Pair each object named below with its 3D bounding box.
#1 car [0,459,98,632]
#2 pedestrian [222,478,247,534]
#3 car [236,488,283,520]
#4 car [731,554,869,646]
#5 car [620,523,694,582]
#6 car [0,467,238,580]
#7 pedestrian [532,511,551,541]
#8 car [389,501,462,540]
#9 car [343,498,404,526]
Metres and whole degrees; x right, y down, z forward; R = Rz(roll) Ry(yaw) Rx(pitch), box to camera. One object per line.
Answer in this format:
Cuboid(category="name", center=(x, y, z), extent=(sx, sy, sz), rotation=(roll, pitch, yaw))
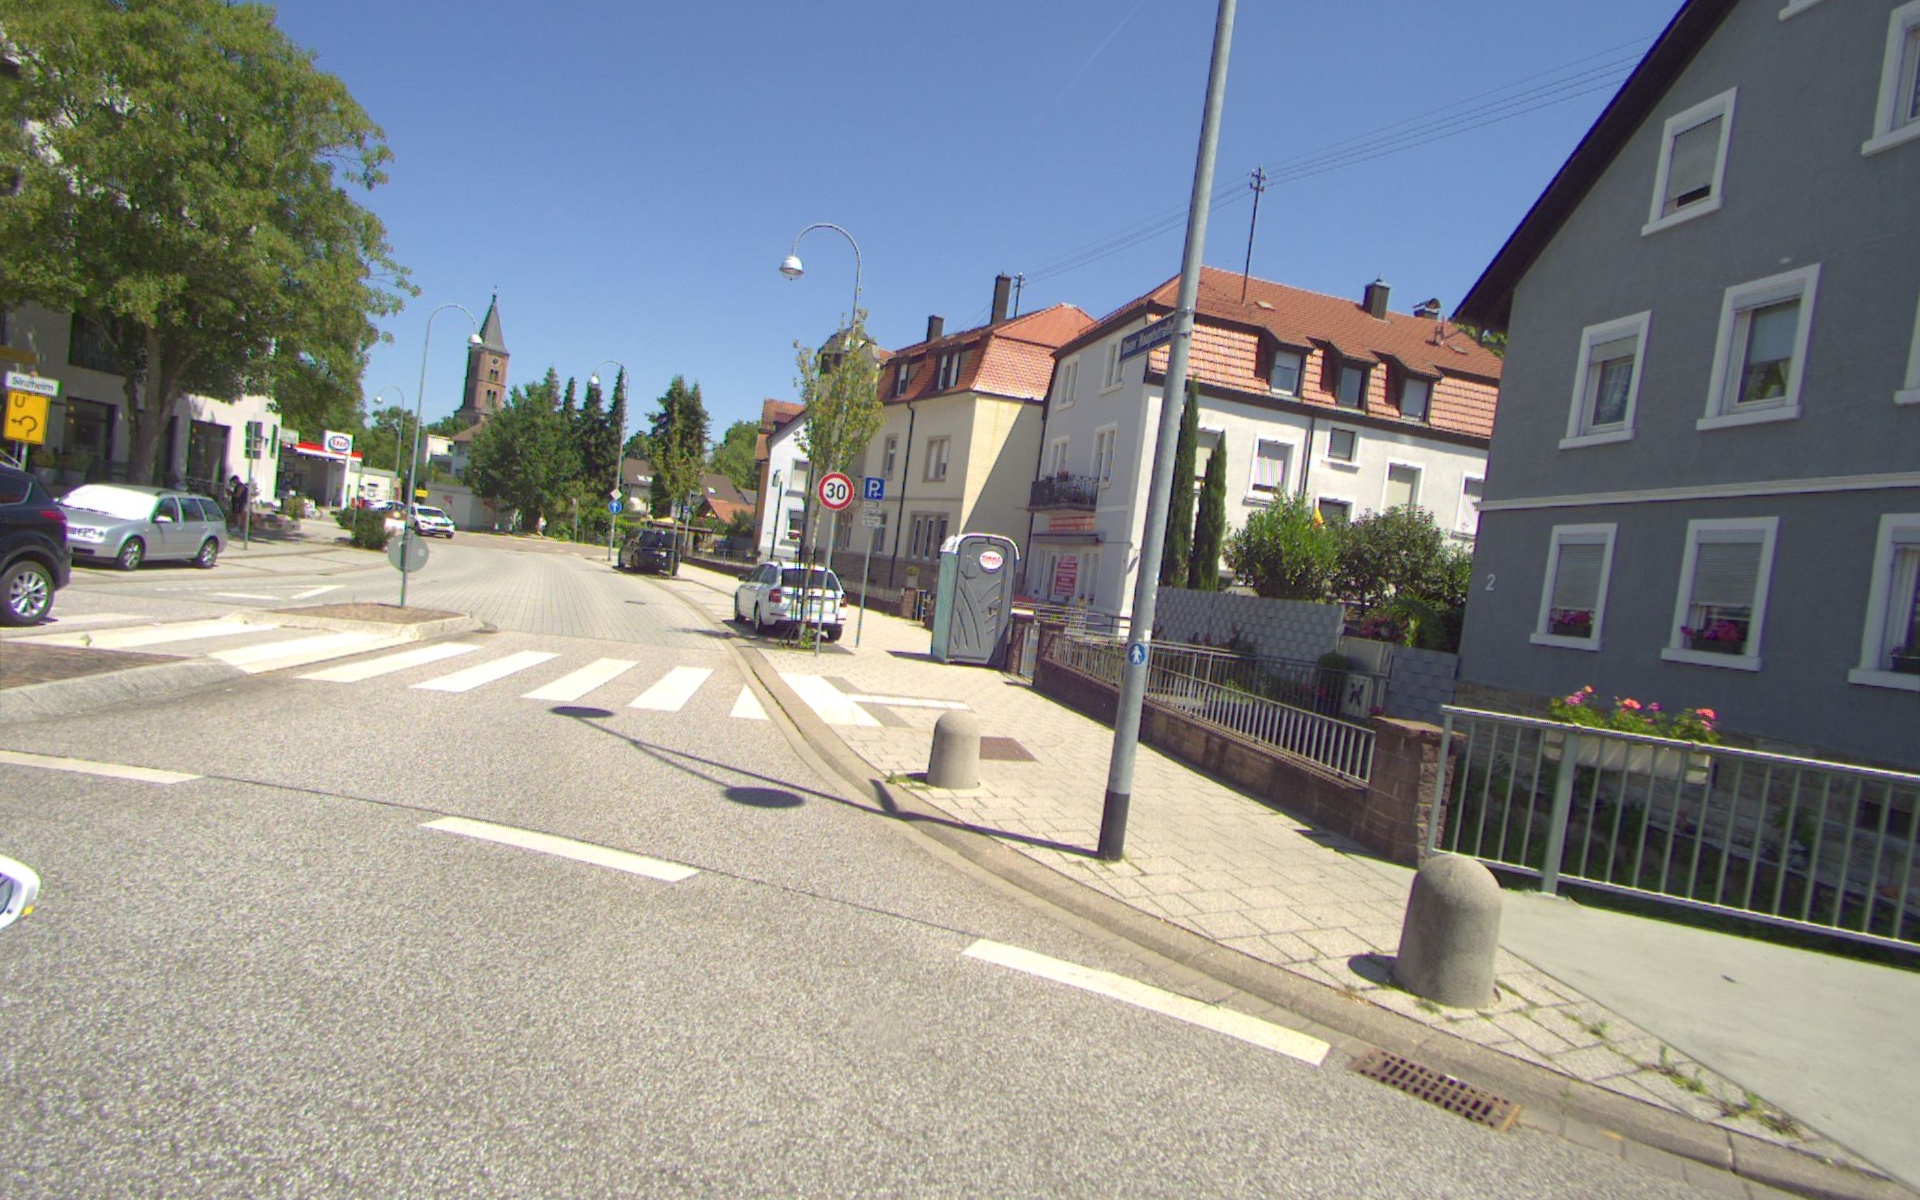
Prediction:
Cuboid(category="car", center=(-10.339, -0.601, 8.808), extent=(1.965, 1.710, 4.518), rotation=(6, 1, -7))
Cuboid(category="pedestrian", center=(-22.381, -2.914, 31.035), extent=(0.402, 1.650, 0.645), rotation=(7, 4, -29))
Cuboid(category="car", center=(-42.636, -5.834, 61.211), extent=(1.823, 1.594, 3.952), rotation=(5, 2, -42))
Cuboid(category="car", center=(-3.458, -0.069, 21.040), extent=(1.970, 1.607, 4.263), rotation=(2, 3, -21))
Cuboid(category="car", center=(-12.768, -2.039, 42.158), extent=(1.978, 1.889, 4.251), rotation=(8, 3, -29))
Cuboid(category="car", center=(-15.577, -1.382, 18.745), extent=(1.773, 1.610, 3.988), rotation=(9, 2, -11))
Cuboid(category="pedestrian", center=(-27.787, -4.907, 66.776), extent=(0.540, 1.838, 0.843), rotation=(11, 4, 31))
Cuboid(category="car", center=(-28.452, -4.234, 53.507), extent=(3.938, 1.595, 1.829), rotation=(9, 3, 37))
Cuboid(category="car", center=(-50.746, -7.600, 87.143), extent=(1.965, 1.672, 3.992), rotation=(11, 3, 28))
